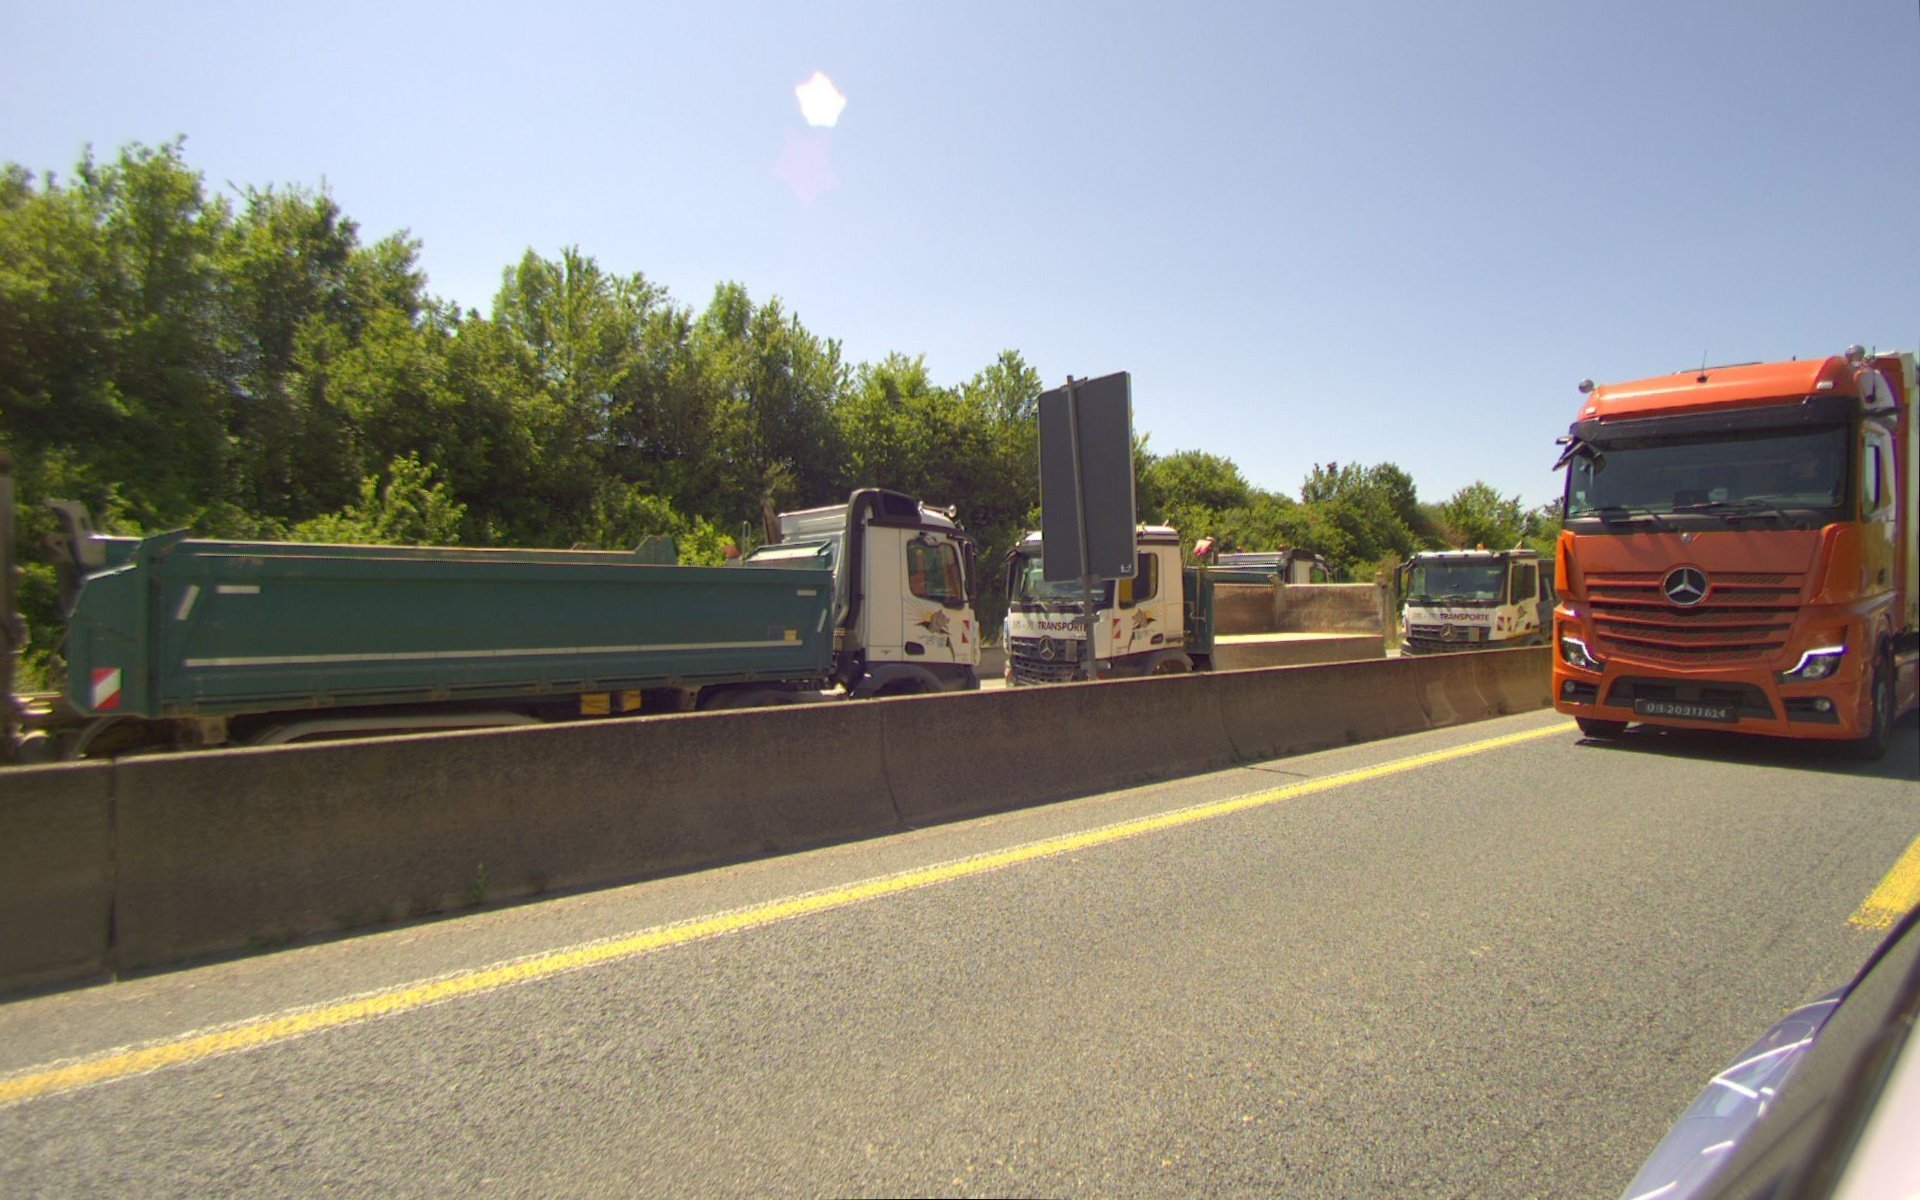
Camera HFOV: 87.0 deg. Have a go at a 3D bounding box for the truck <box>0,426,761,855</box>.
[{"bbox_3d":[-7.036,0.326,11.205,9.435,3.602,2.691,0,0,-41],"label":"truck"}]

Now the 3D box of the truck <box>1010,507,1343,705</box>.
[{"bbox_3d":[4.959,0.092,21.886,8.234,3.555,2.691,0,0,-41],"label":"truck"}]

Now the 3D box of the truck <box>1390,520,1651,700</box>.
[{"bbox_3d":[13.530,0.175,23.971,8.938,3.555,2.537,0,0,-41],"label":"truck"}]

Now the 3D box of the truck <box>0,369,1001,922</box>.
[{"bbox_3d":[-3.862,0.276,10.389,9.435,3.602,2.542,0,0,-41],"label":"truck"}]

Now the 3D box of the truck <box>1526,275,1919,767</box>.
[{"bbox_3d":[9.237,-0.687,11.515,6.606,4.061,2.687,-1,0,-40],"label":"truck"}]

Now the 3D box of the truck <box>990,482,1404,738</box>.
[{"bbox_3d":[4.597,0.117,17.962,8.788,3.555,2.537,0,0,-41],"label":"truck"}]

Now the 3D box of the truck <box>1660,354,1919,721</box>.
[{"bbox_3d":[14.873,-0.767,16.239,12.986,4.061,2.687,-1,0,-40],"label":"truck"}]
